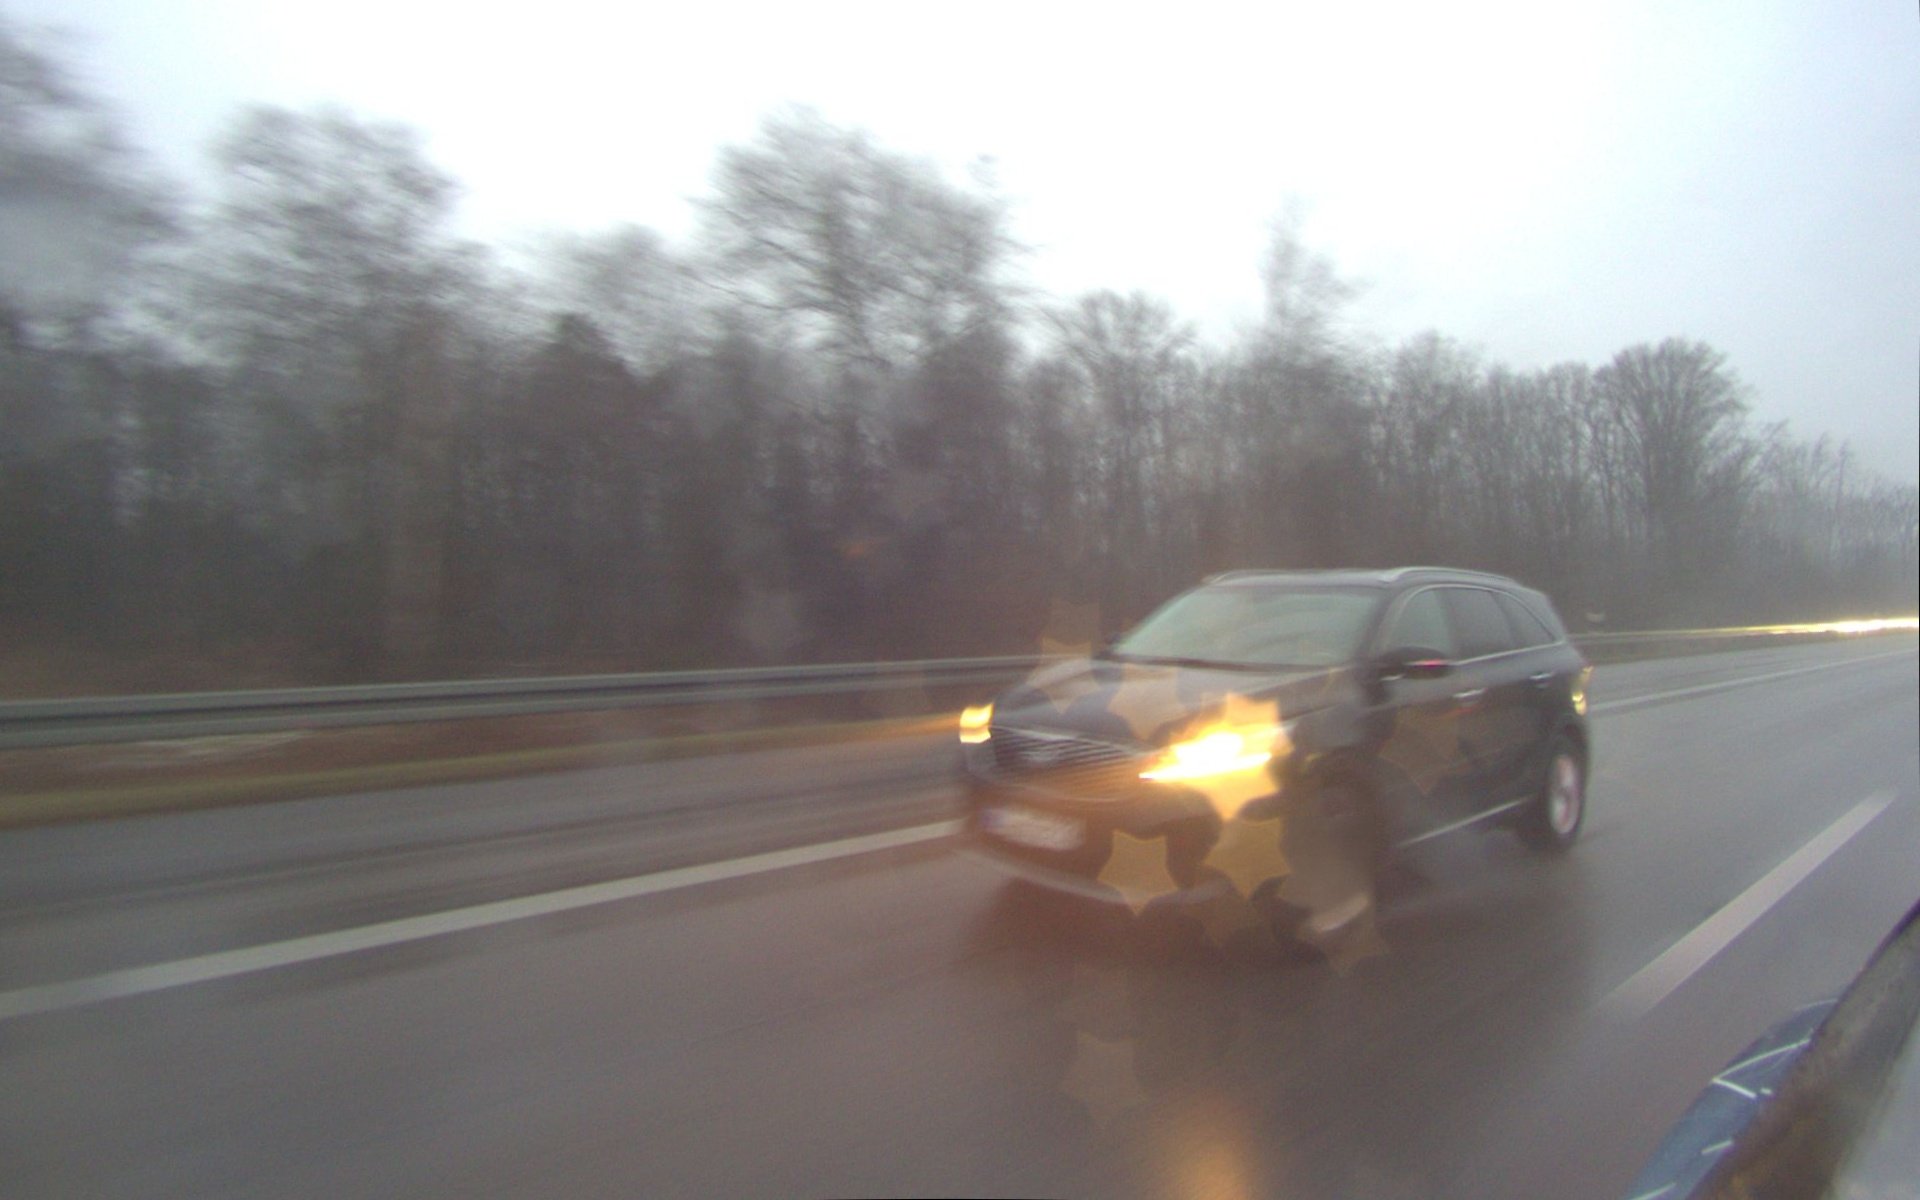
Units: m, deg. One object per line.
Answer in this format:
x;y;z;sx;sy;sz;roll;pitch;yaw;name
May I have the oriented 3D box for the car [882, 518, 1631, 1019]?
1.926;0.572;5.718;4.384;1.719;2.073;0;0;-42;car
